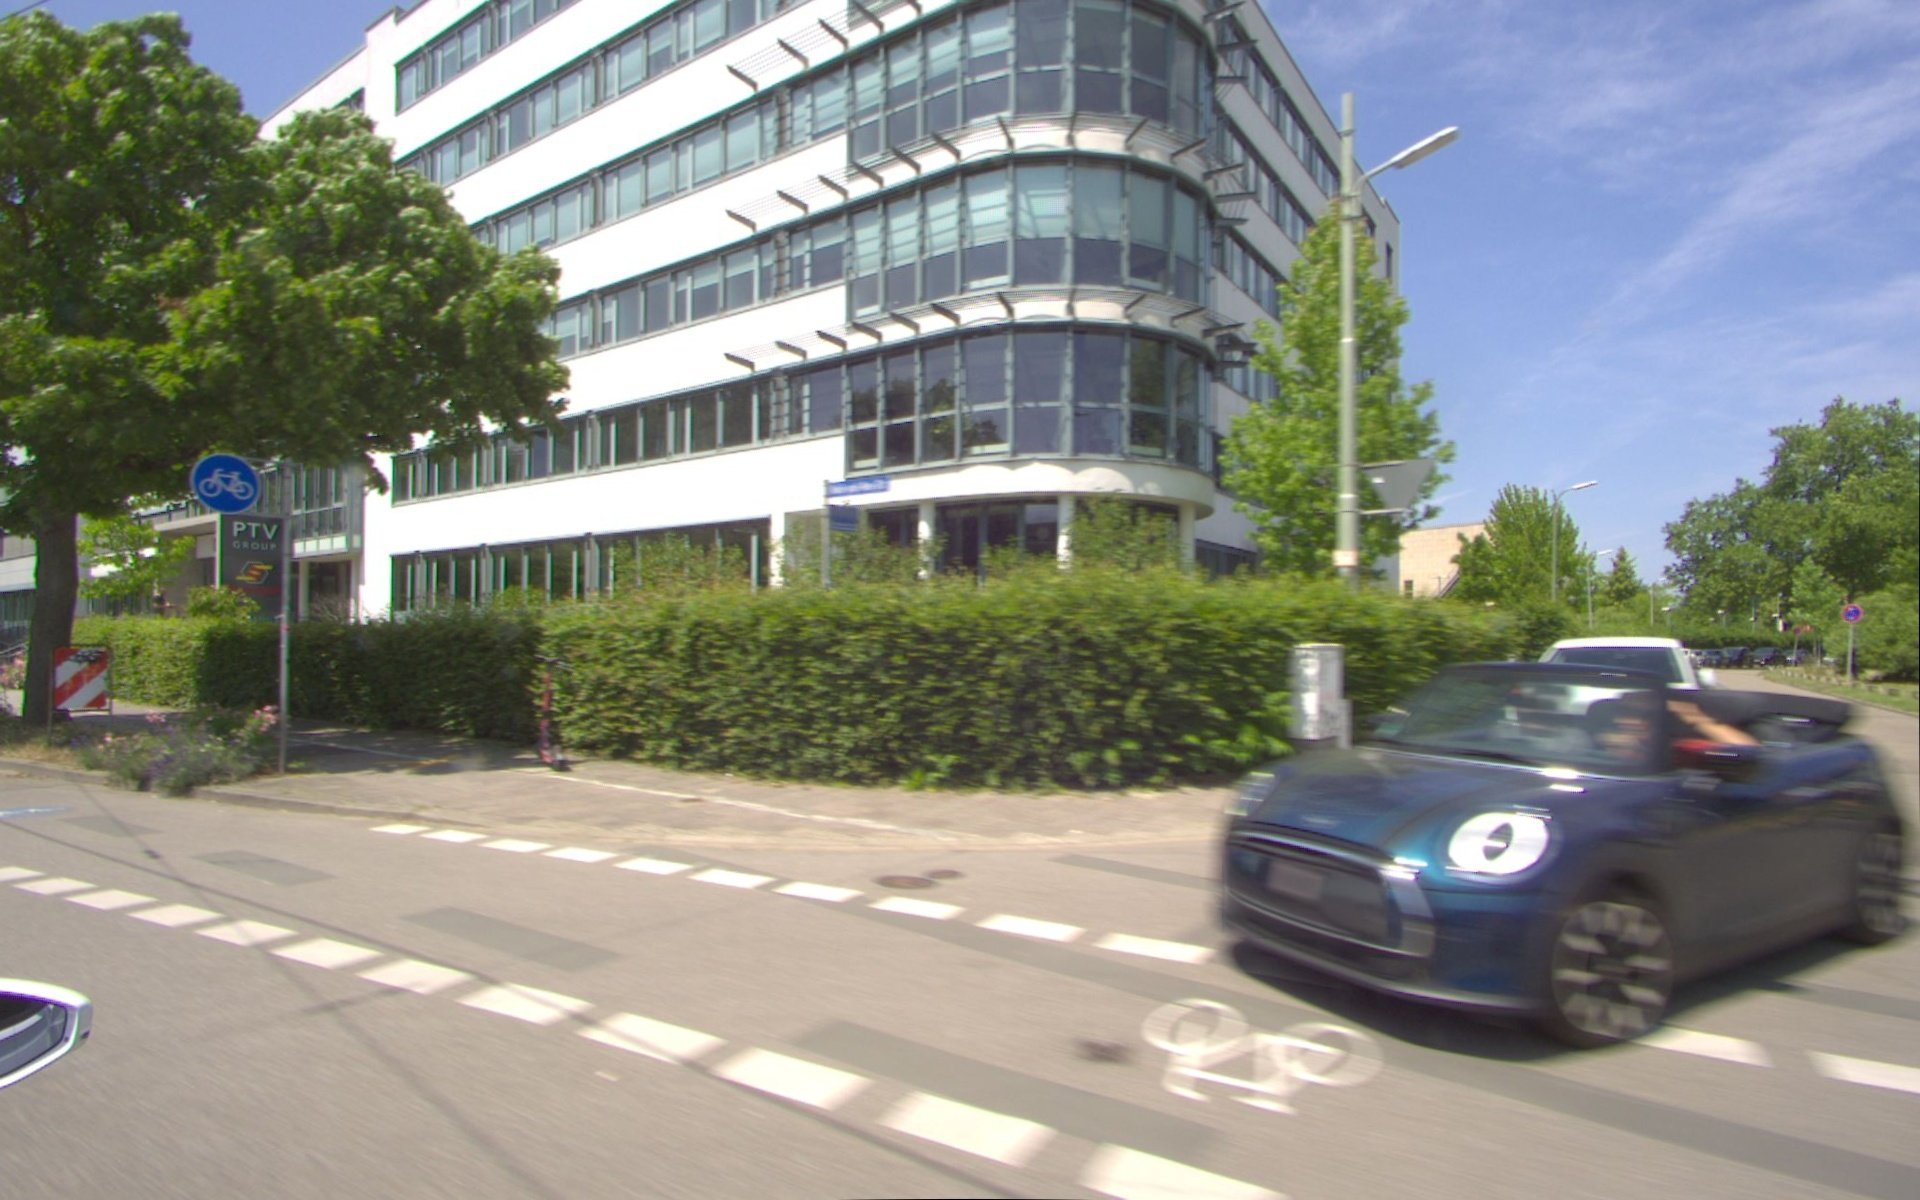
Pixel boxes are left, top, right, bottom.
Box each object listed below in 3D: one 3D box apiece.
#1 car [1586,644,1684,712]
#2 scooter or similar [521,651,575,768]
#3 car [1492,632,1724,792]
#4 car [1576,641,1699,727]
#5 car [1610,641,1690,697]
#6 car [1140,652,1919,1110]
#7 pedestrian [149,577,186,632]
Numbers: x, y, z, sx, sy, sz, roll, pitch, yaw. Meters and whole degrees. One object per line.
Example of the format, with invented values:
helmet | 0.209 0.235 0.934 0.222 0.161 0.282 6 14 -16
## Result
car | 15.852 1.759 23.489 1.744 1.427 4.439 -1 -3 35
scooter or similar | -4.620 1.198 11.205 0.323 1.237 1.145 3 -3 -32
car | 7.511 1.127 11.427 1.796 1.478 4.133 -1 -3 39
car | 12.821 1.507 19.011 1.744 1.427 4.139 -1 -3 34
car | 19.384 1.880 28.133 1.744 1.427 4.138 -1 -3 35
car | 2.914 0.961 4.831 3.871 1.389 1.695 1 -3 -30
pedestrian | -25.526 0.152 32.237 0.867 1.737 1.080 0 -1 -41
